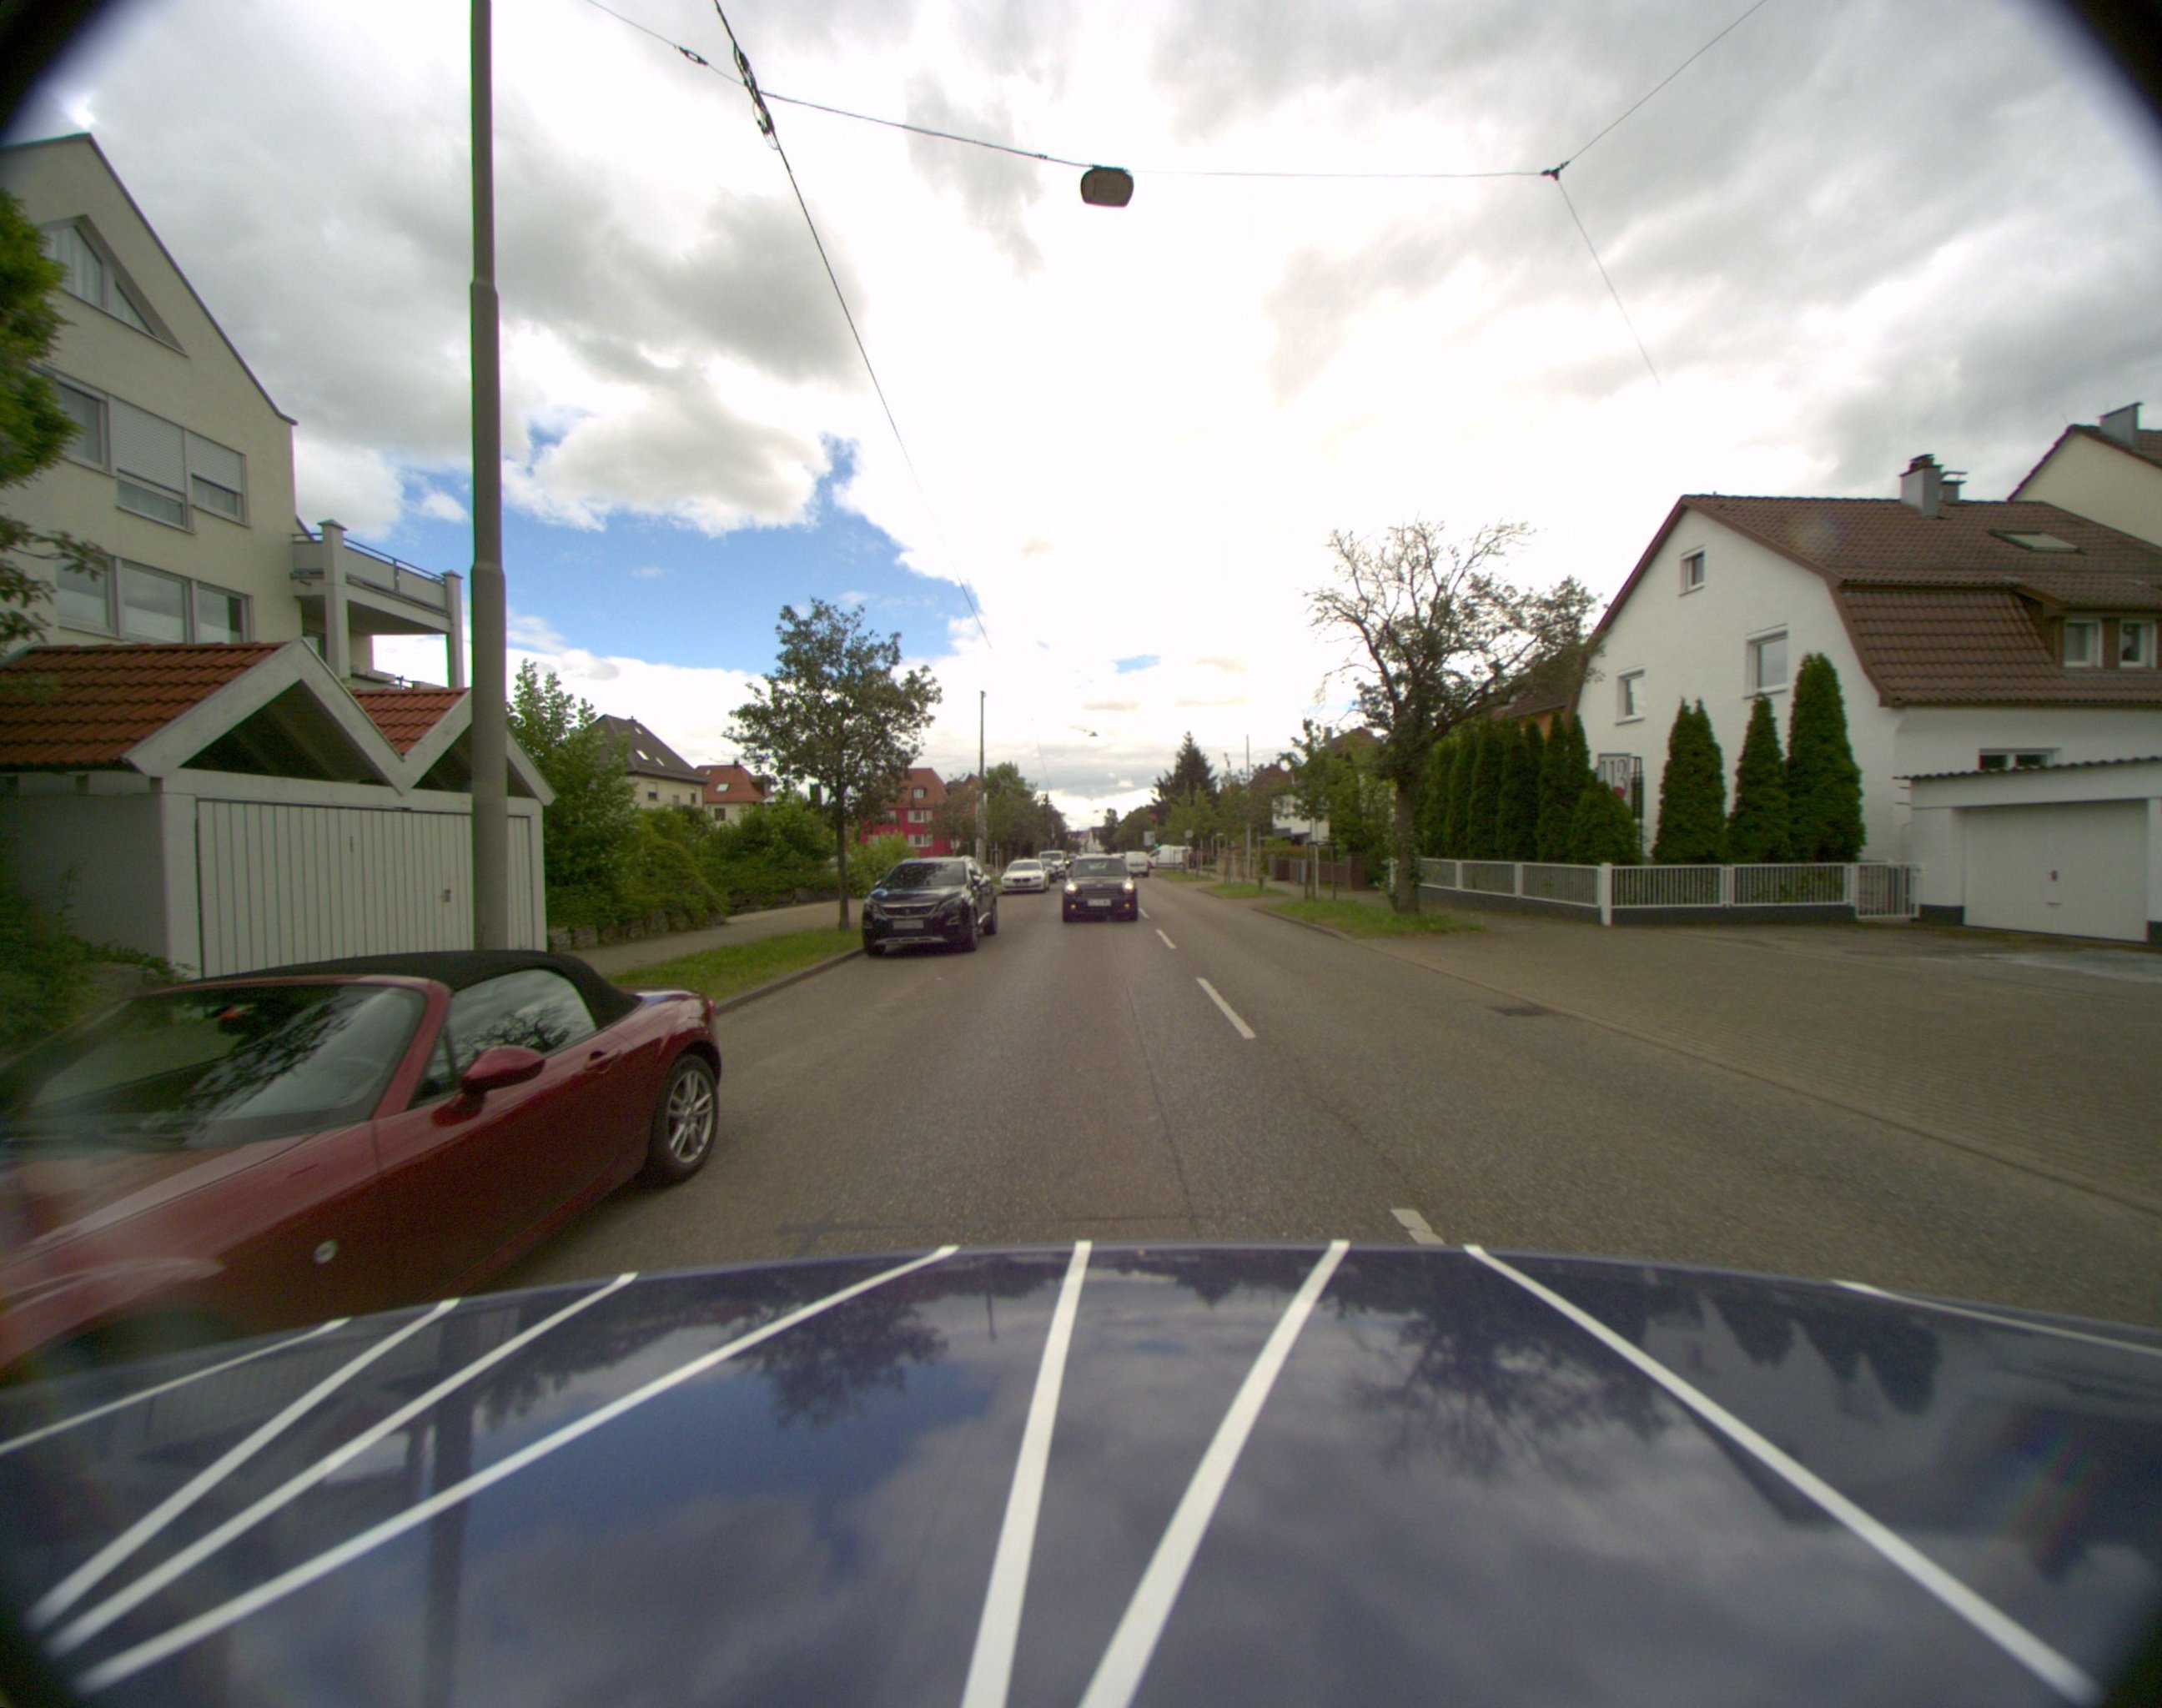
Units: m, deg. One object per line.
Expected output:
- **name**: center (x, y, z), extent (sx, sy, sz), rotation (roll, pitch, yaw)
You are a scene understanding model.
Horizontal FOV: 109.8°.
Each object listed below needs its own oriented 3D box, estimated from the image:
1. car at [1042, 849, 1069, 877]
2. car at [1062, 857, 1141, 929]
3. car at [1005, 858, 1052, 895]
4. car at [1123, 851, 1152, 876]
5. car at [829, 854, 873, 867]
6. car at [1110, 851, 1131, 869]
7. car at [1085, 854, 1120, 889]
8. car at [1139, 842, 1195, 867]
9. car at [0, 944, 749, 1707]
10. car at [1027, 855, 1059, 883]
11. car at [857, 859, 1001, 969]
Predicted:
- **car**: center (-1.847, 0.616, 55.438), extent (1.779, 1.932, 4.788), rotation (-2, 0, 0)
- **car**: center (0.509, 0.871, 18.789), extent (1.743, 1.573, 3.685), rotation (0, 0, 2)
- **car**: center (-2.278, 0.946, 33.998), extent (1.697, 1.445, 4.404), rotation (-3, 0, 1)
- **car**: center (4.050, 0.642, 54.894), extent (1.800, 1.741, 4.298), rotation (0, 0, 1)
- **car**: center (-25.150, 0.705, 83.104), extent (4.231, 1.416, 1.760), rotation (1, -1, -1)
- **car**: center (3.767, 0.577, 72.971), extent (1.818, 1.683, 4.465), rotation (1, 0, 0)
- **car**: center (1.026, 0.794, 36.695), extent (1.590, 1.598, 3.685), rotation (-1, 0, 2)
- **car**: center (9.348, 0.067, 82.726), extent (5.610, 2.549, 2.133), rotation (1, 2, 18)
- **car**: center (-2.728, 1.189, 2.491), extent (1.485, 1.229, 3.884), rotation (-3, 0, 0)
- **car**: center (-2.229, 0.857, 45.383), extent (1.669, 1.507, 4.220), rotation (-2, 0, -1)
- **car**: center (-2.602, 0.952, 13.945), extent (1.692, 1.600, 4.109), rotation (-3, 1, 1)
